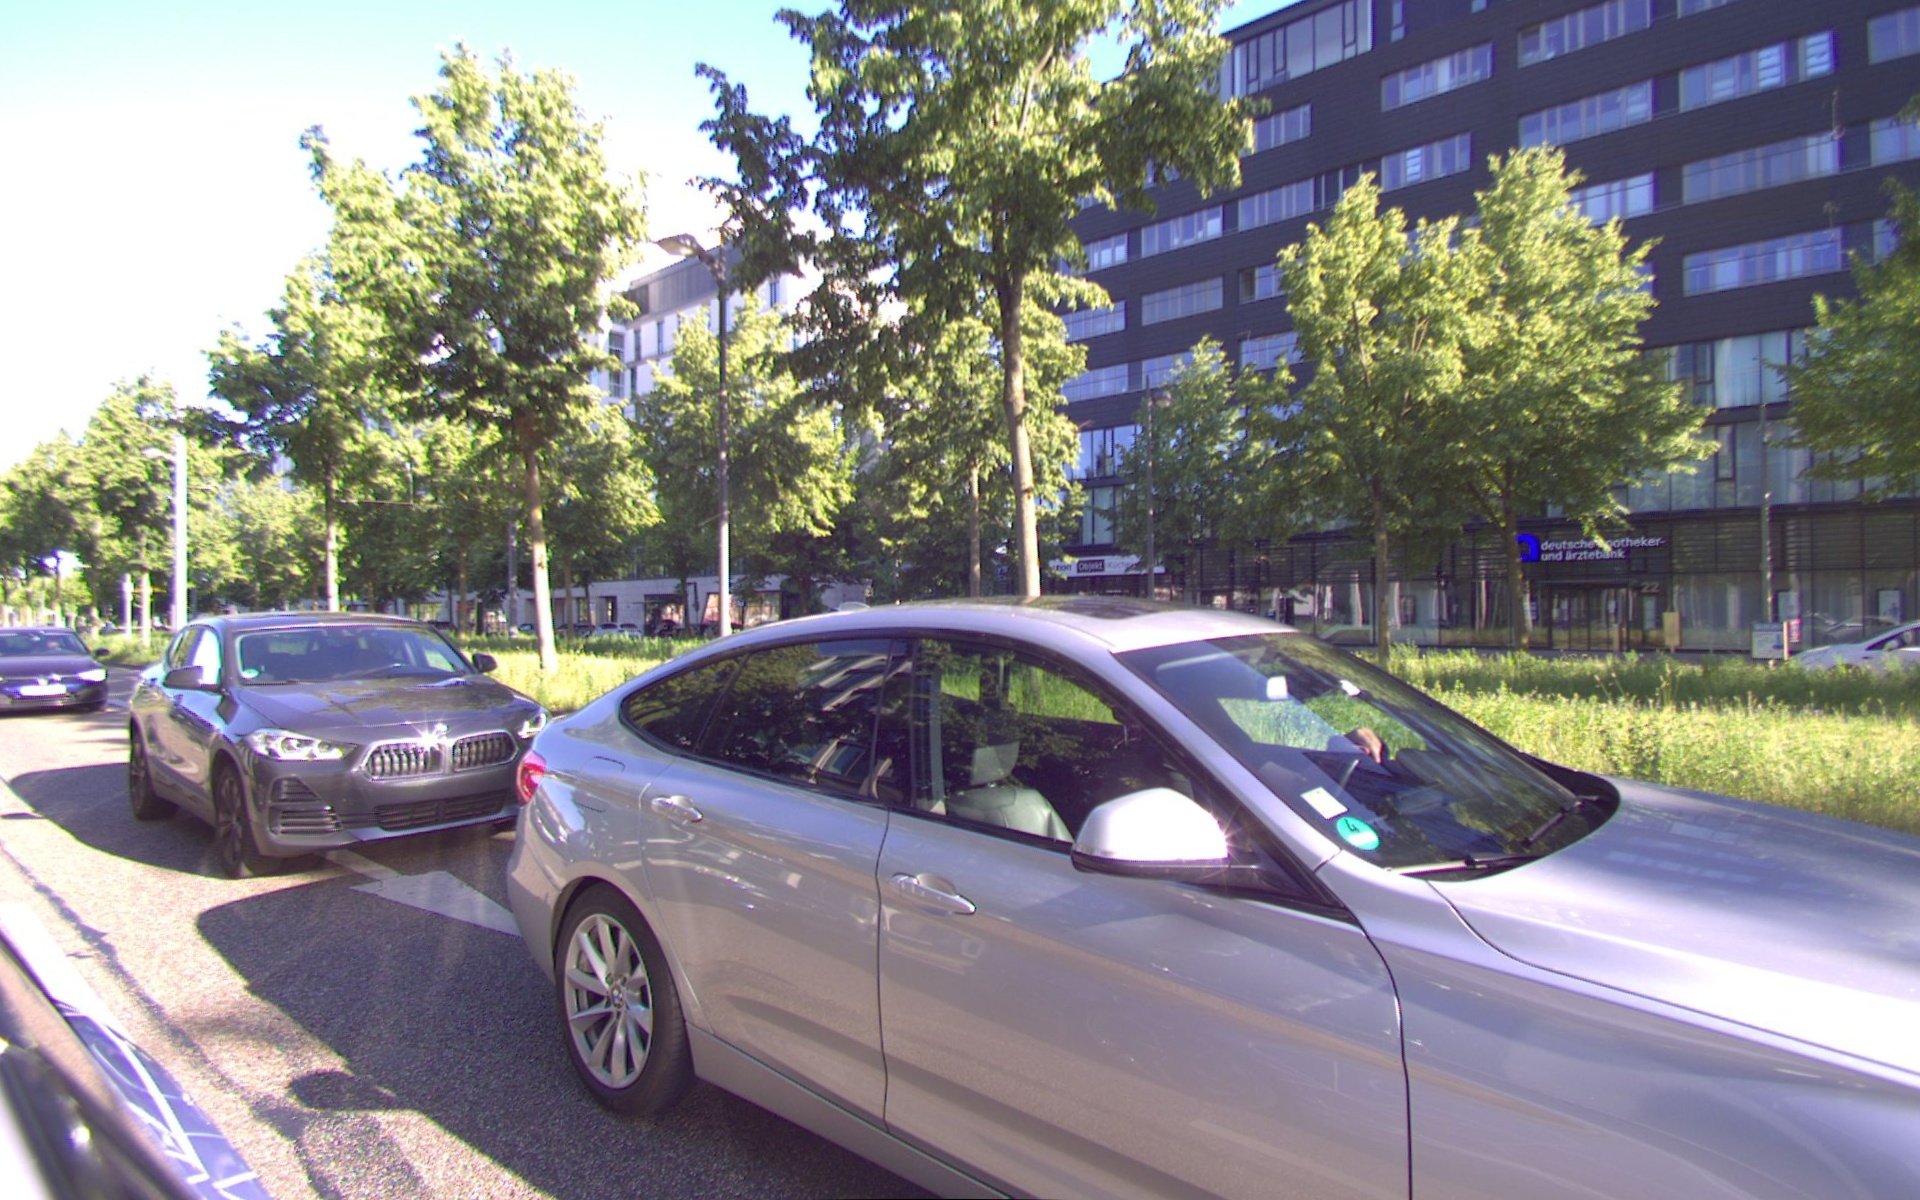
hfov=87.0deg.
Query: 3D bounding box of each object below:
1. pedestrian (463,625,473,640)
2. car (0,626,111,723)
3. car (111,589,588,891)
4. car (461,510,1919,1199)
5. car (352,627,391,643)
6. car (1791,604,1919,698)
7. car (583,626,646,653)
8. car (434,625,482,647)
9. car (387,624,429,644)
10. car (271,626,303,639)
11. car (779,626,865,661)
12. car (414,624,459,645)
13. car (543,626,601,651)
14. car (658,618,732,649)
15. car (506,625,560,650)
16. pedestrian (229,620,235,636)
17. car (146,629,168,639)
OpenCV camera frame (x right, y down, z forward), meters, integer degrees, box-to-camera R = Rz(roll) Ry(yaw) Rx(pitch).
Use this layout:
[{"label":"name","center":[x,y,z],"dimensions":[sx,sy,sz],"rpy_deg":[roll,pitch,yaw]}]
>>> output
[{"label":"pedestrian","center":[-44.589,2.940,91.677],"dimensions":[0.660,1.349,0.597],"rpy_deg":[-2,-1,41]},{"label":"car","center":[-15.766,1.170,16.942],"dimensions":[4.344,1.434,1.854],"rpy_deg":[-1,-1,43]},{"label":"car","center":[-4.440,0.740,7.101],"dimensions":[4.000,1.502,1.836],"rpy_deg":[-1,-1,43]},{"label":"car","center":[0.636,0.680,2.598],"dimensions":[4.558,1.495,1.800],"rpy_deg":[-1,-1,40]},{"label":"car","center":[-52.230,3.079,89.772],"dimensions":[4.001,1.406,1.971],"rpy_deg":[-2,-2,44]},{"label":"car","center":[17.204,0.850,17.320],"dimensions":[4.565,1.494,1.781],"rpy_deg":[-1,2,40]},{"label":"car","center":[-21.583,2.463,63.144],"dimensions":[4.182,1.609,1.859],"rpy_deg":[-2,-1,41]},{"label":"car","center":[-38.673,2.735,77.970],"dimensions":[4.182,1.609,1.859],"rpy_deg":[-2,-1,41]},{"label":"car","center":[-46.590,2.851,85.372],"dimensions":[4.182,1.609,1.859],"rpy_deg":[-2,-1,41]},{"label":"car","center":[-72.536,3.499,109.057],"dimensions":[3.998,1.406,1.972],"rpy_deg":[-2,-2,41]},{"label":"car","center":[-6.769,2.074,49.385],"dimensions":[4.182,1.609,1.926],"rpy_deg":[-2,-1,41]},{"label":"car","center":[-42.135,2.781,81.476],"dimensions":[4.182,1.609,1.859],"rpy_deg":[-2,-1,41]},{"label":"car","center":[-25.703,2.523,67.052],"dimensions":[4.182,1.609,1.859],"rpy_deg":[-2,-1,41]},{"label":"car","center":[-14.532,1.821,55.430],"dimensions":[4.182,1.609,1.926],"rpy_deg":[-2,-1,41]},{"label":"car","center":[-29.732,2.589,70.463],"dimensions":[4.182,1.609,1.859],"rpy_deg":[-2,-1,41]},{"label":"pedestrian","center":[-90.382,3.477,125.636],"dimensions":[0.576,2.029,0.620],"rpy_deg":[0,-1,-42]},{"label":"car","center":[-114.632,4.815,144.488],"dimensions":[4.001,1.406,1.971],"rpy_deg":[-2,-2,44]}]
